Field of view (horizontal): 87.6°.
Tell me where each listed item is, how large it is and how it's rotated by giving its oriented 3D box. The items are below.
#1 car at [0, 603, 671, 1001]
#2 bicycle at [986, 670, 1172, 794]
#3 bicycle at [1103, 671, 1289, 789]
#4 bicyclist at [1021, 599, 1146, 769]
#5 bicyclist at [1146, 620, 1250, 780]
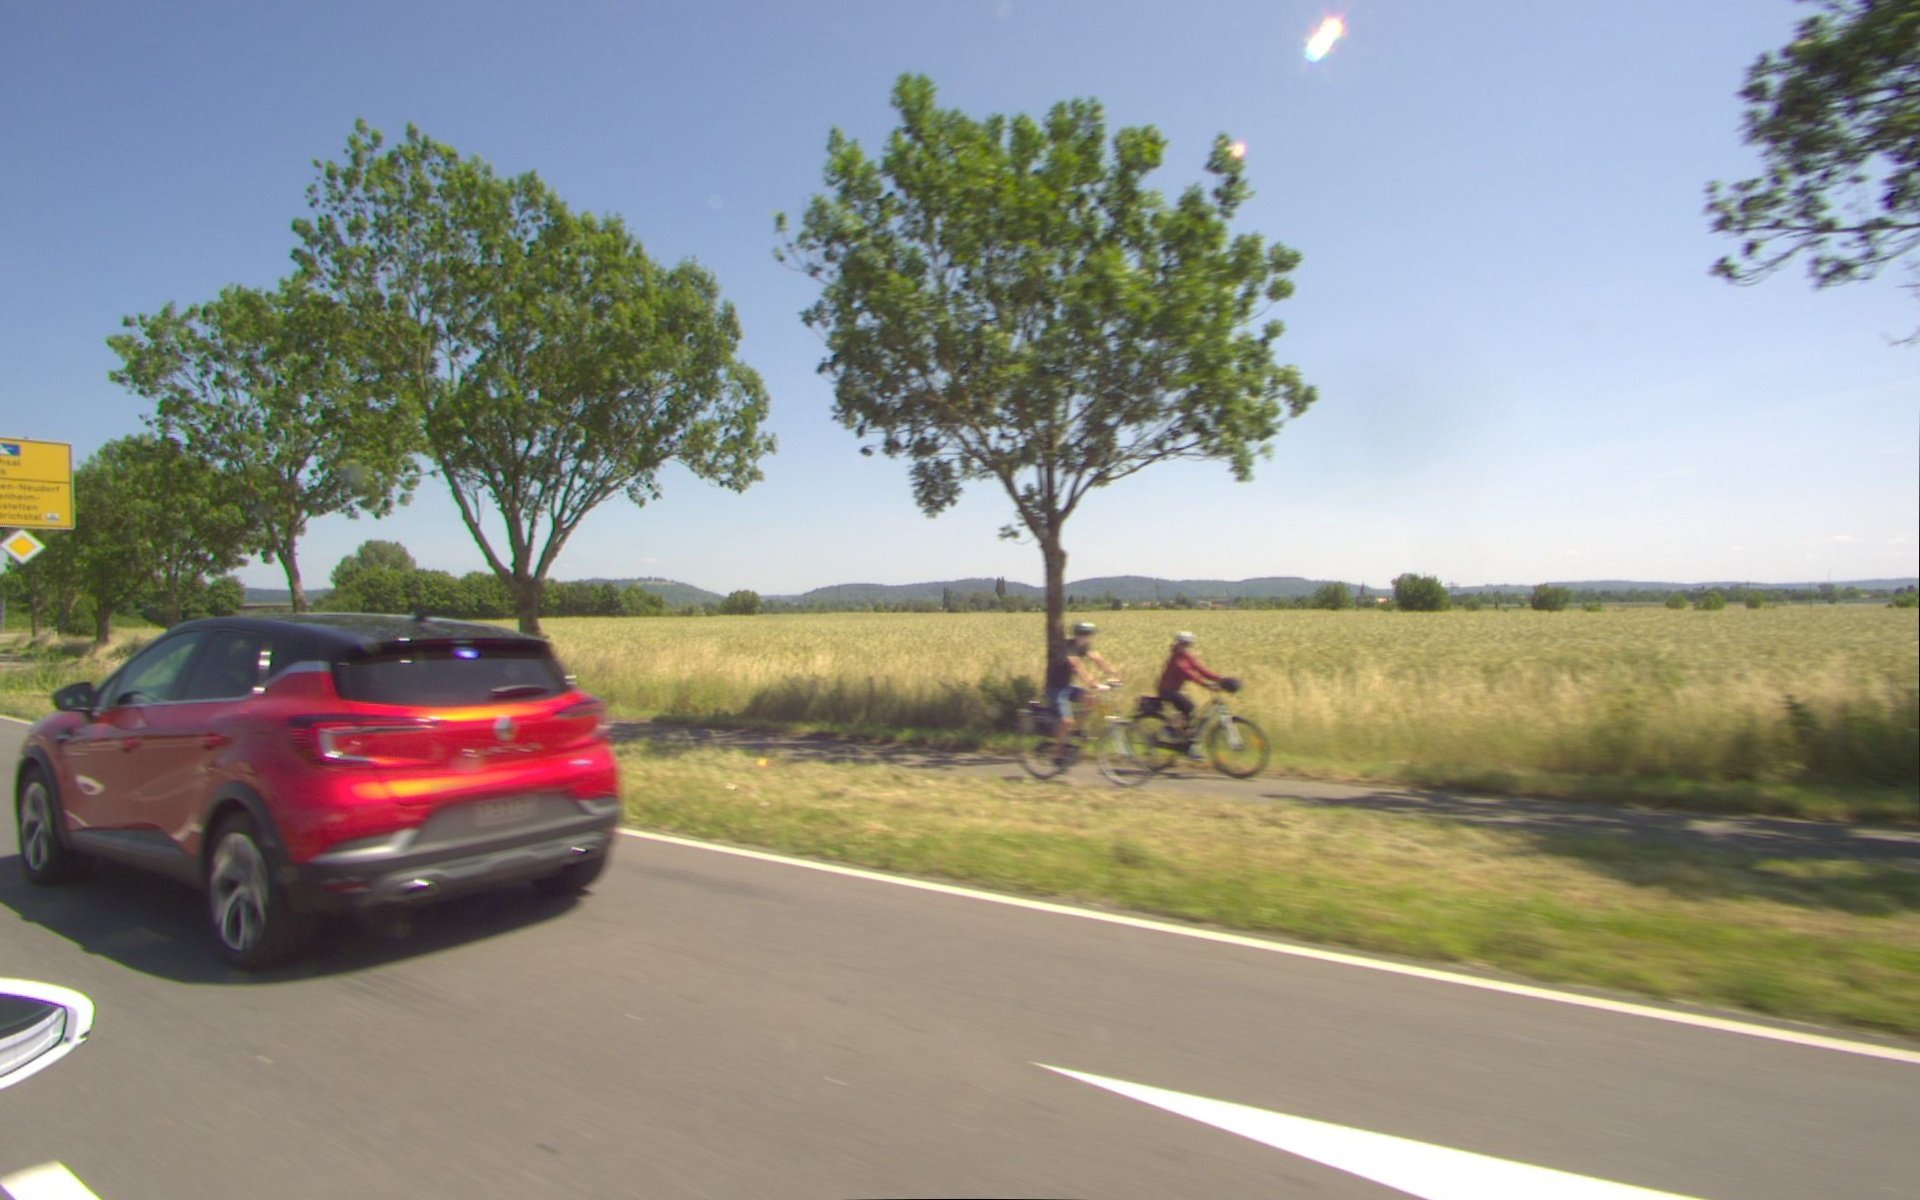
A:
[{"bbox_3d":[-3.913,0.855,5.921,4.386,1.572,1.819,-1,-1,33],"label":"car"},{"bbox_3d":[1.270,1.394,10.973,2.028,1.191,0.603,-1,-4,42],"label":"bicycle"},{"bbox_3d":[2.762,1.485,11.839,2.025,1.225,0.696,-1,-3,38],"label":"bicycle"},{"bbox_3d":[1.344,0.893,10.966,1.158,1.755,0.585,0,-4,42],"label":"bicyclist"},{"bbox_3d":[2.818,1.161,11.865,0.966,1.804,0.626,0,-4,39],"label":"bicyclist"}]
